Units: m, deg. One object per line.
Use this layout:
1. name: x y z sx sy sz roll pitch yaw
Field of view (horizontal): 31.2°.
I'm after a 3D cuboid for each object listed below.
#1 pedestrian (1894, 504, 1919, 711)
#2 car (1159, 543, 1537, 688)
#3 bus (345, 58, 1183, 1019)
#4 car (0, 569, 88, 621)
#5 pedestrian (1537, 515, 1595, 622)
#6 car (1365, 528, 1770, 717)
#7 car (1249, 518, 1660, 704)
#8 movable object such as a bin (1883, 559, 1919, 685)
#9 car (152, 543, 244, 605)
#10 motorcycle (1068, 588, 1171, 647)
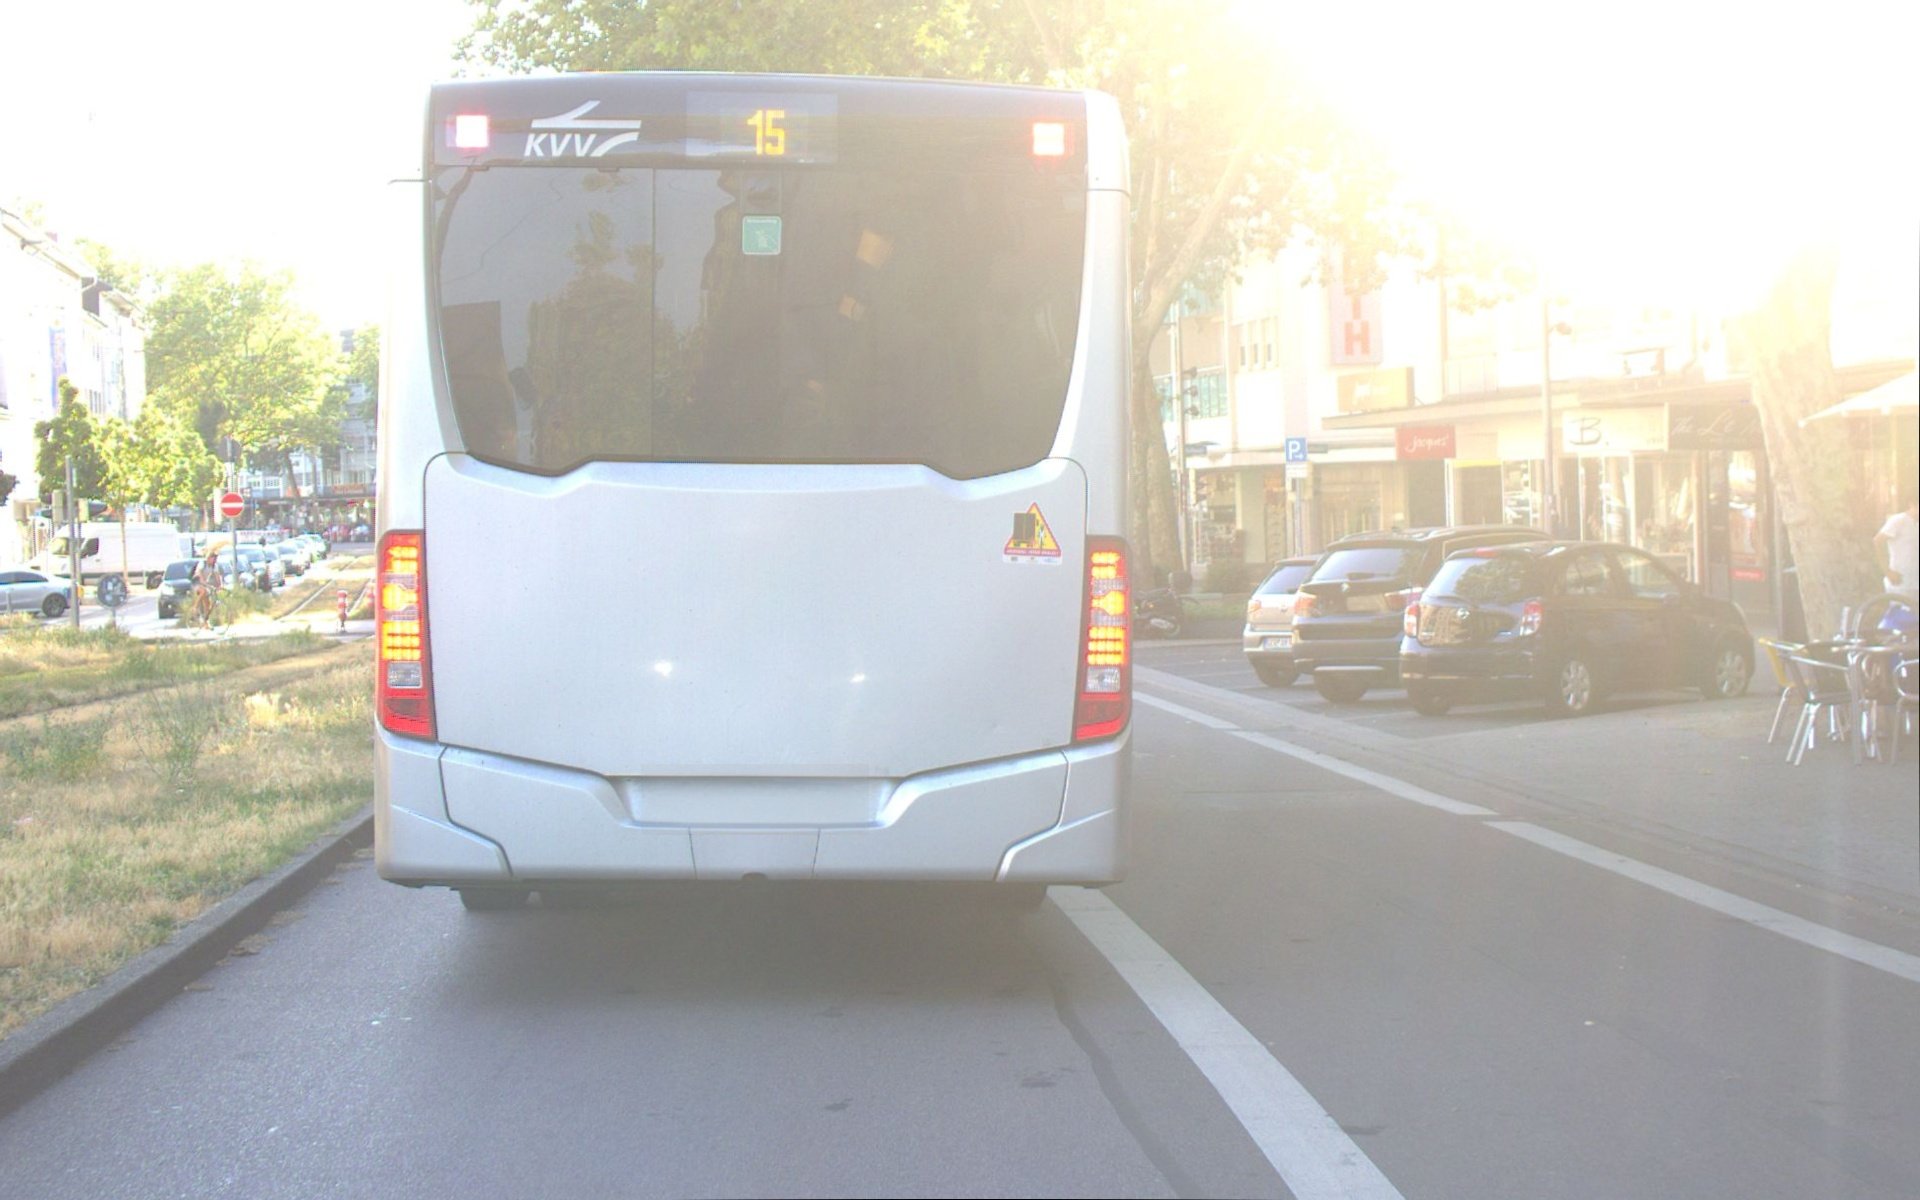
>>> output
1. pedestrian: 8.691 0.061 30.570 0.515 1.826 0.475 -2 1 -25
2. car: 4.339 0.144 38.111 4.166 1.446 1.809 -2 1 -41
3. bus: -0.691 -0.272 14.579 2.678 3.073 7.115 0 1 -1
4. car: -27.472 -0.114 98.221 4.539 1.407 1.999 -2 1 -40
5. pedestrian: 10.260 -0.530 58.233 0.780 1.787 0.764 -1 1 -3
6. car: 5.451 0.166 30.622 3.599 1.535 1.741 -2 1 -44
7. car: 4.913 0.072 33.843 4.140 1.675 1.808 -2 1 -44
8. movable object such as a bin: 8.174 0.178 28.025 0.926 1.020 0.840 0 1 -25
9. car: -20.253 -0.704 91.477 1.722 1.504 3.476 -4 1 -3
10. motorcycle: 2.565 0.278 55.481 1.570 0.889 0.545 -2 1 -6
